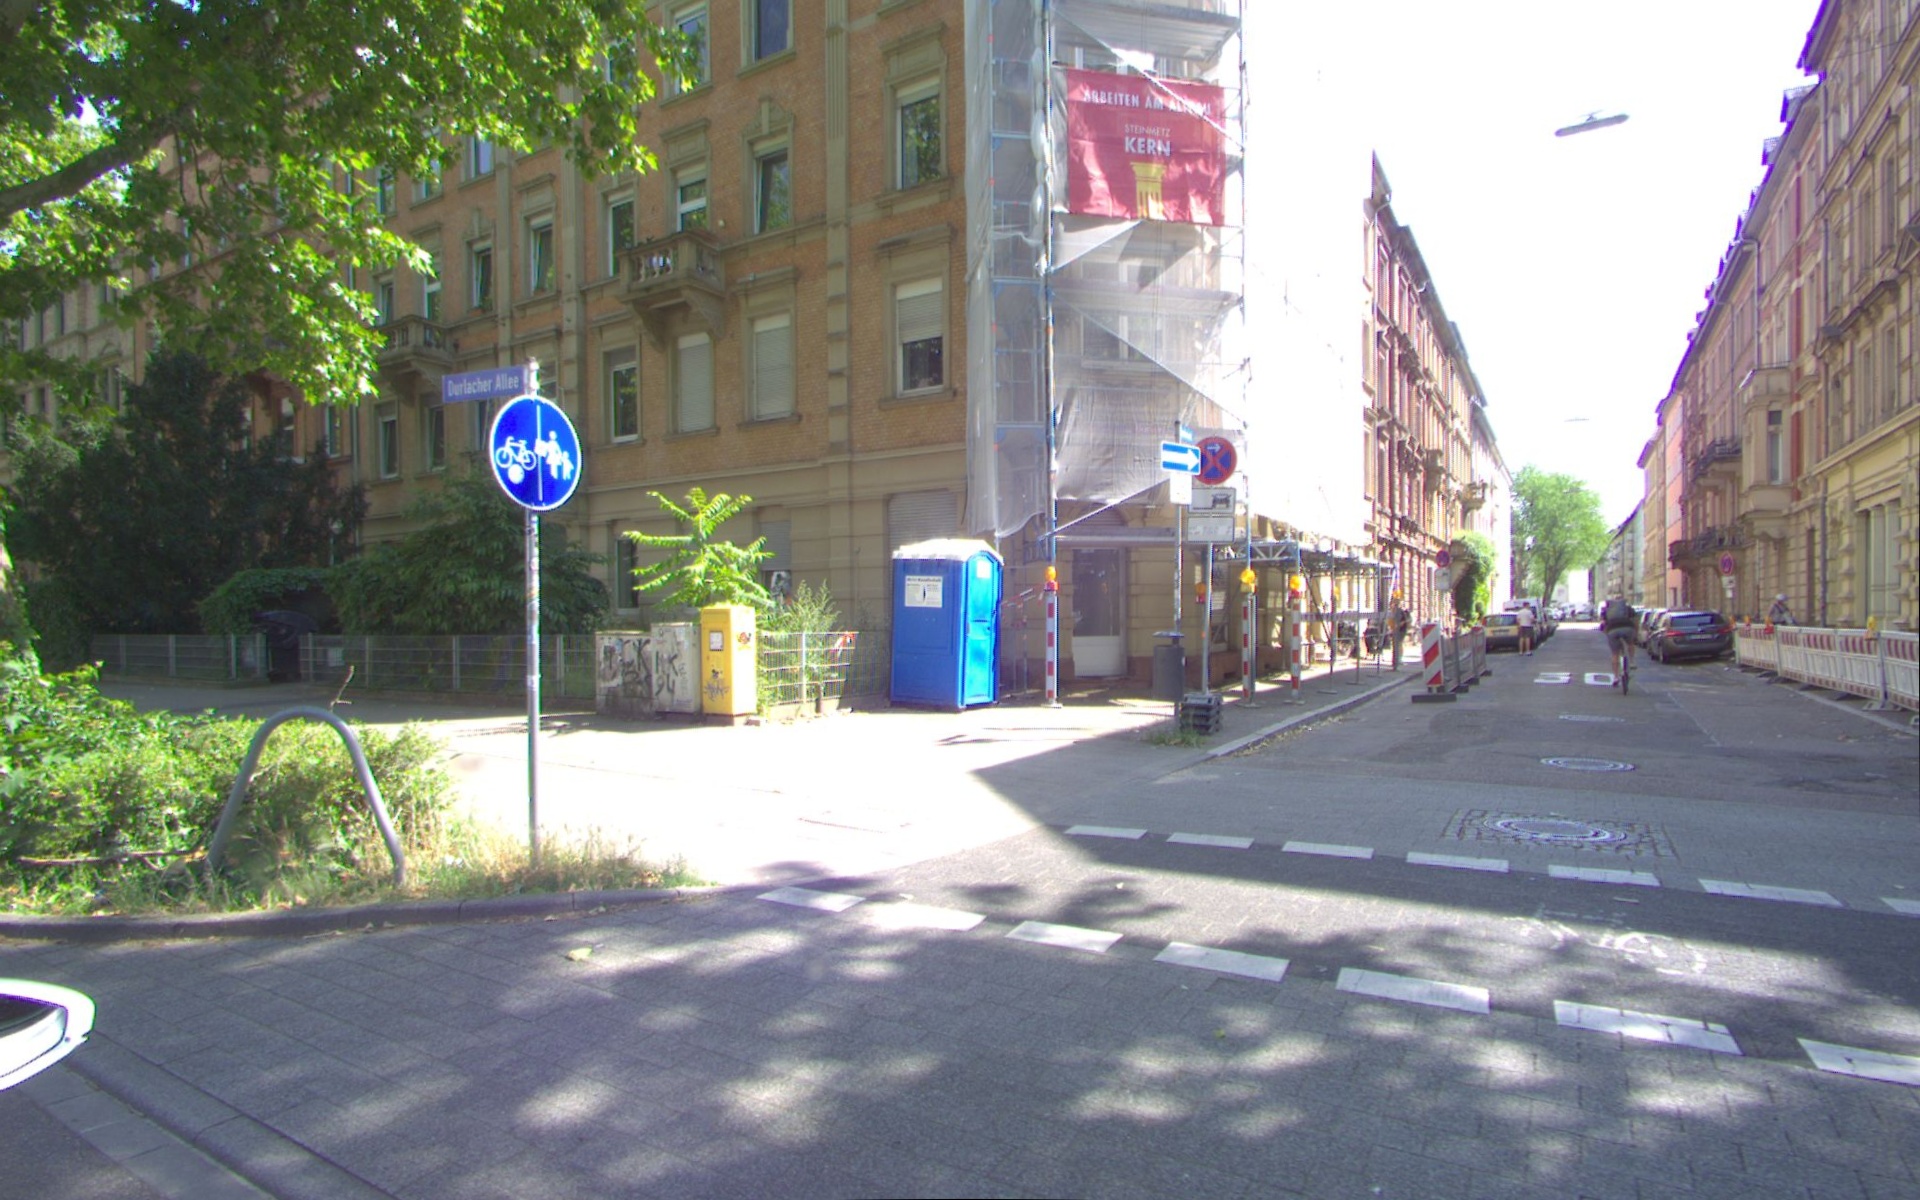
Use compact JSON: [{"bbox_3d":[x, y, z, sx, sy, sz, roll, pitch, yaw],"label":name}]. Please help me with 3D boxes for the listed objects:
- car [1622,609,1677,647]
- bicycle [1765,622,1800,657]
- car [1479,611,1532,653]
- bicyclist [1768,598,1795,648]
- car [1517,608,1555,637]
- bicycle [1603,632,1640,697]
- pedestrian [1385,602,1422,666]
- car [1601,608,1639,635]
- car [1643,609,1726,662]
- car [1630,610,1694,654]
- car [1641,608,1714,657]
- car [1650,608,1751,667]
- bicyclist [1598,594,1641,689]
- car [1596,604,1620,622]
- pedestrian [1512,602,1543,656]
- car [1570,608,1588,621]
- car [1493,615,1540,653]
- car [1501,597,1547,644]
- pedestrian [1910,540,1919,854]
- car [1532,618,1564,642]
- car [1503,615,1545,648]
[{"bbox_3d":[33.327,1.334,48.487,1.971,1.761,3.980,-1,-1,31],"label":"car"},{"bbox_3d":[24.279,1.162,29.571,0.530,0.991,1.304,0,0,28],"label":"bicycle"},{"bbox_3d":[21.159,1.211,38.779,1.702,1.549,3.479,-1,-1,31],"label":"car"},{"bbox_3d":[24.318,0.687,29.646,0.525,1.472,0.459,0,0,28],"label":"bicyclist"},{"bbox_3d":[35.983,1.381,62.505,1.887,1.732,4.139,-1,-1,33],"label":"car"},{"bbox_3d":[11.704,1.108,17.732,0.525,1.062,1.915,0,0,33],"label":"bicycle"},{"bbox_3d":[12.194,0.929,27.560,0.843,1.748,0.834,-1,0,19],"label":"pedestrian"},{"bbox_3d":[44.601,1.464,67.733,1.971,1.761,3.980,-1,-1,31],"label":"car"},{"bbox_3d":[24.595,1.160,34.114,1.971,1.661,3.980,-1,-1,31],"label":"car"},{"bbox_3d":[30.048,1.331,42.940,1.971,1.761,3.980,-1,-1,31],"label":"car"},{"bbox_3d":[27.291,1.212,38.190,1.971,1.761,3.980,-1,-1,31],"label":"car"},{"bbox_3d":[21.262,1.032,28.895,1.971,1.572,3.980,-1,-1,31],"label":"car"},{"bbox_3d":[11.637,0.722,17.668,0.616,1.644,0.691,0,0,33],"label":"bicyclist"},{"bbox_3d":[64.973,1.300,100.433,1.971,1.761,3.980,-1,-1,31],"label":"car"},{"bbox_3d":[19.735,0.999,34.844,0.922,1.822,1.034,-1,0,29],"label":"pedestrian"},{"bbox_3d":[82.980,1.944,134.274,1.971,1.761,3.980,-1,-1,31],"label":"car"},{"bbox_3d":[24.164,1.444,43.471,1.702,1.549,3.479,-1,-1,30],"label":"car"},{"bbox_3d":[29.863,1.077,52.961,1.887,2.405,4.224,-1,-1,33],"label":"car"},{"bbox_3d":[5.793,0.553,5.389,0.840,1.809,0.734,0,0,32],"label":"pedestrian"},{"bbox_3d":[43.922,2.213,74.789,1.887,1.732,4.139,-1,-1,33],"label":"car"},{"bbox_3d":[27.332,1.491,48.504,1.702,1.549,3.479,-1,-1,31],"label":"car"}]
